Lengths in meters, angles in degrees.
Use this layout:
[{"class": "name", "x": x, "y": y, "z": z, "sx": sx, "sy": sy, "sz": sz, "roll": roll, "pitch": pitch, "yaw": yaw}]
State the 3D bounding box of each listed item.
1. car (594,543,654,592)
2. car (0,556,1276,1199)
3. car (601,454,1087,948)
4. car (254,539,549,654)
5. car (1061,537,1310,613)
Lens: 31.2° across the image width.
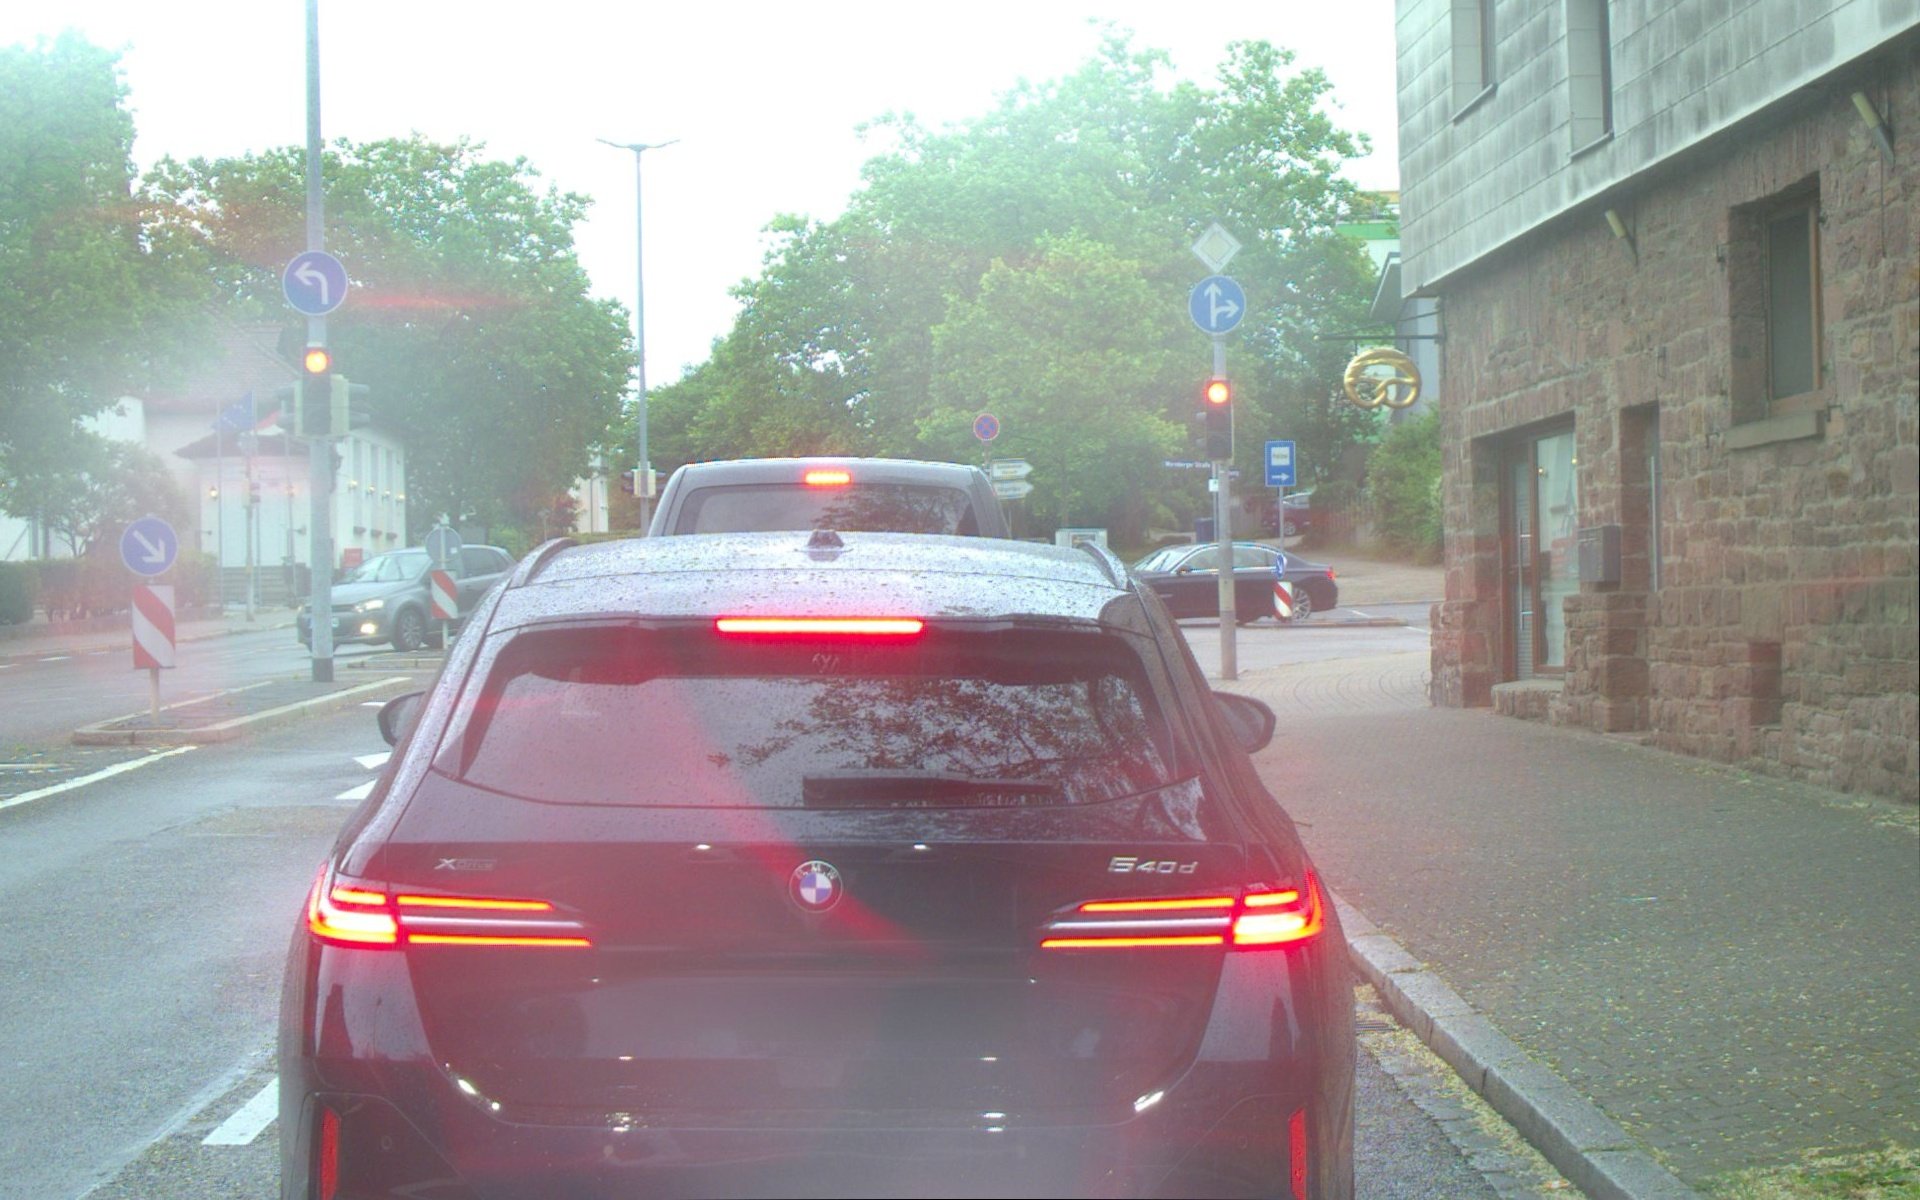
[{"class": "car", "x": -9.869, "y": -0.967, "z": 101.189, "sx": 1.464, "sy": 1.393, "sz": 3.322, "roll": 0, "pitch": 1, "yaw": -1}, {"class": "car", "x": -0.677, "y": 0.641, "z": 7.425, "sx": 2.064, "sy": 1.441, "sz": 4.484, "roll": 0, "pitch": 1, "yaw": -3}, {"class": "car", "x": -0.521, "y": 0.326, "z": 14.687, "sx": 1.783, "sy": 1.811, "sz": 4.001, "roll": 0, "pitch": 1, "yaw": -3}, {"class": "car", "x": -7.703, "y": -0.083, "z": 47.749, "sx": 1.997, "sy": 1.504, "sz": 3.948, "roll": 0, "pitch": 1, "yaw": 30}, {"class": "car", "x": 3.960, "y": -0.455, "z": 60.565, "sx": 3.986, "sy": 1.284, "sz": 1.849, "roll": -1, "pitch": 1, "yaw": -14}]
